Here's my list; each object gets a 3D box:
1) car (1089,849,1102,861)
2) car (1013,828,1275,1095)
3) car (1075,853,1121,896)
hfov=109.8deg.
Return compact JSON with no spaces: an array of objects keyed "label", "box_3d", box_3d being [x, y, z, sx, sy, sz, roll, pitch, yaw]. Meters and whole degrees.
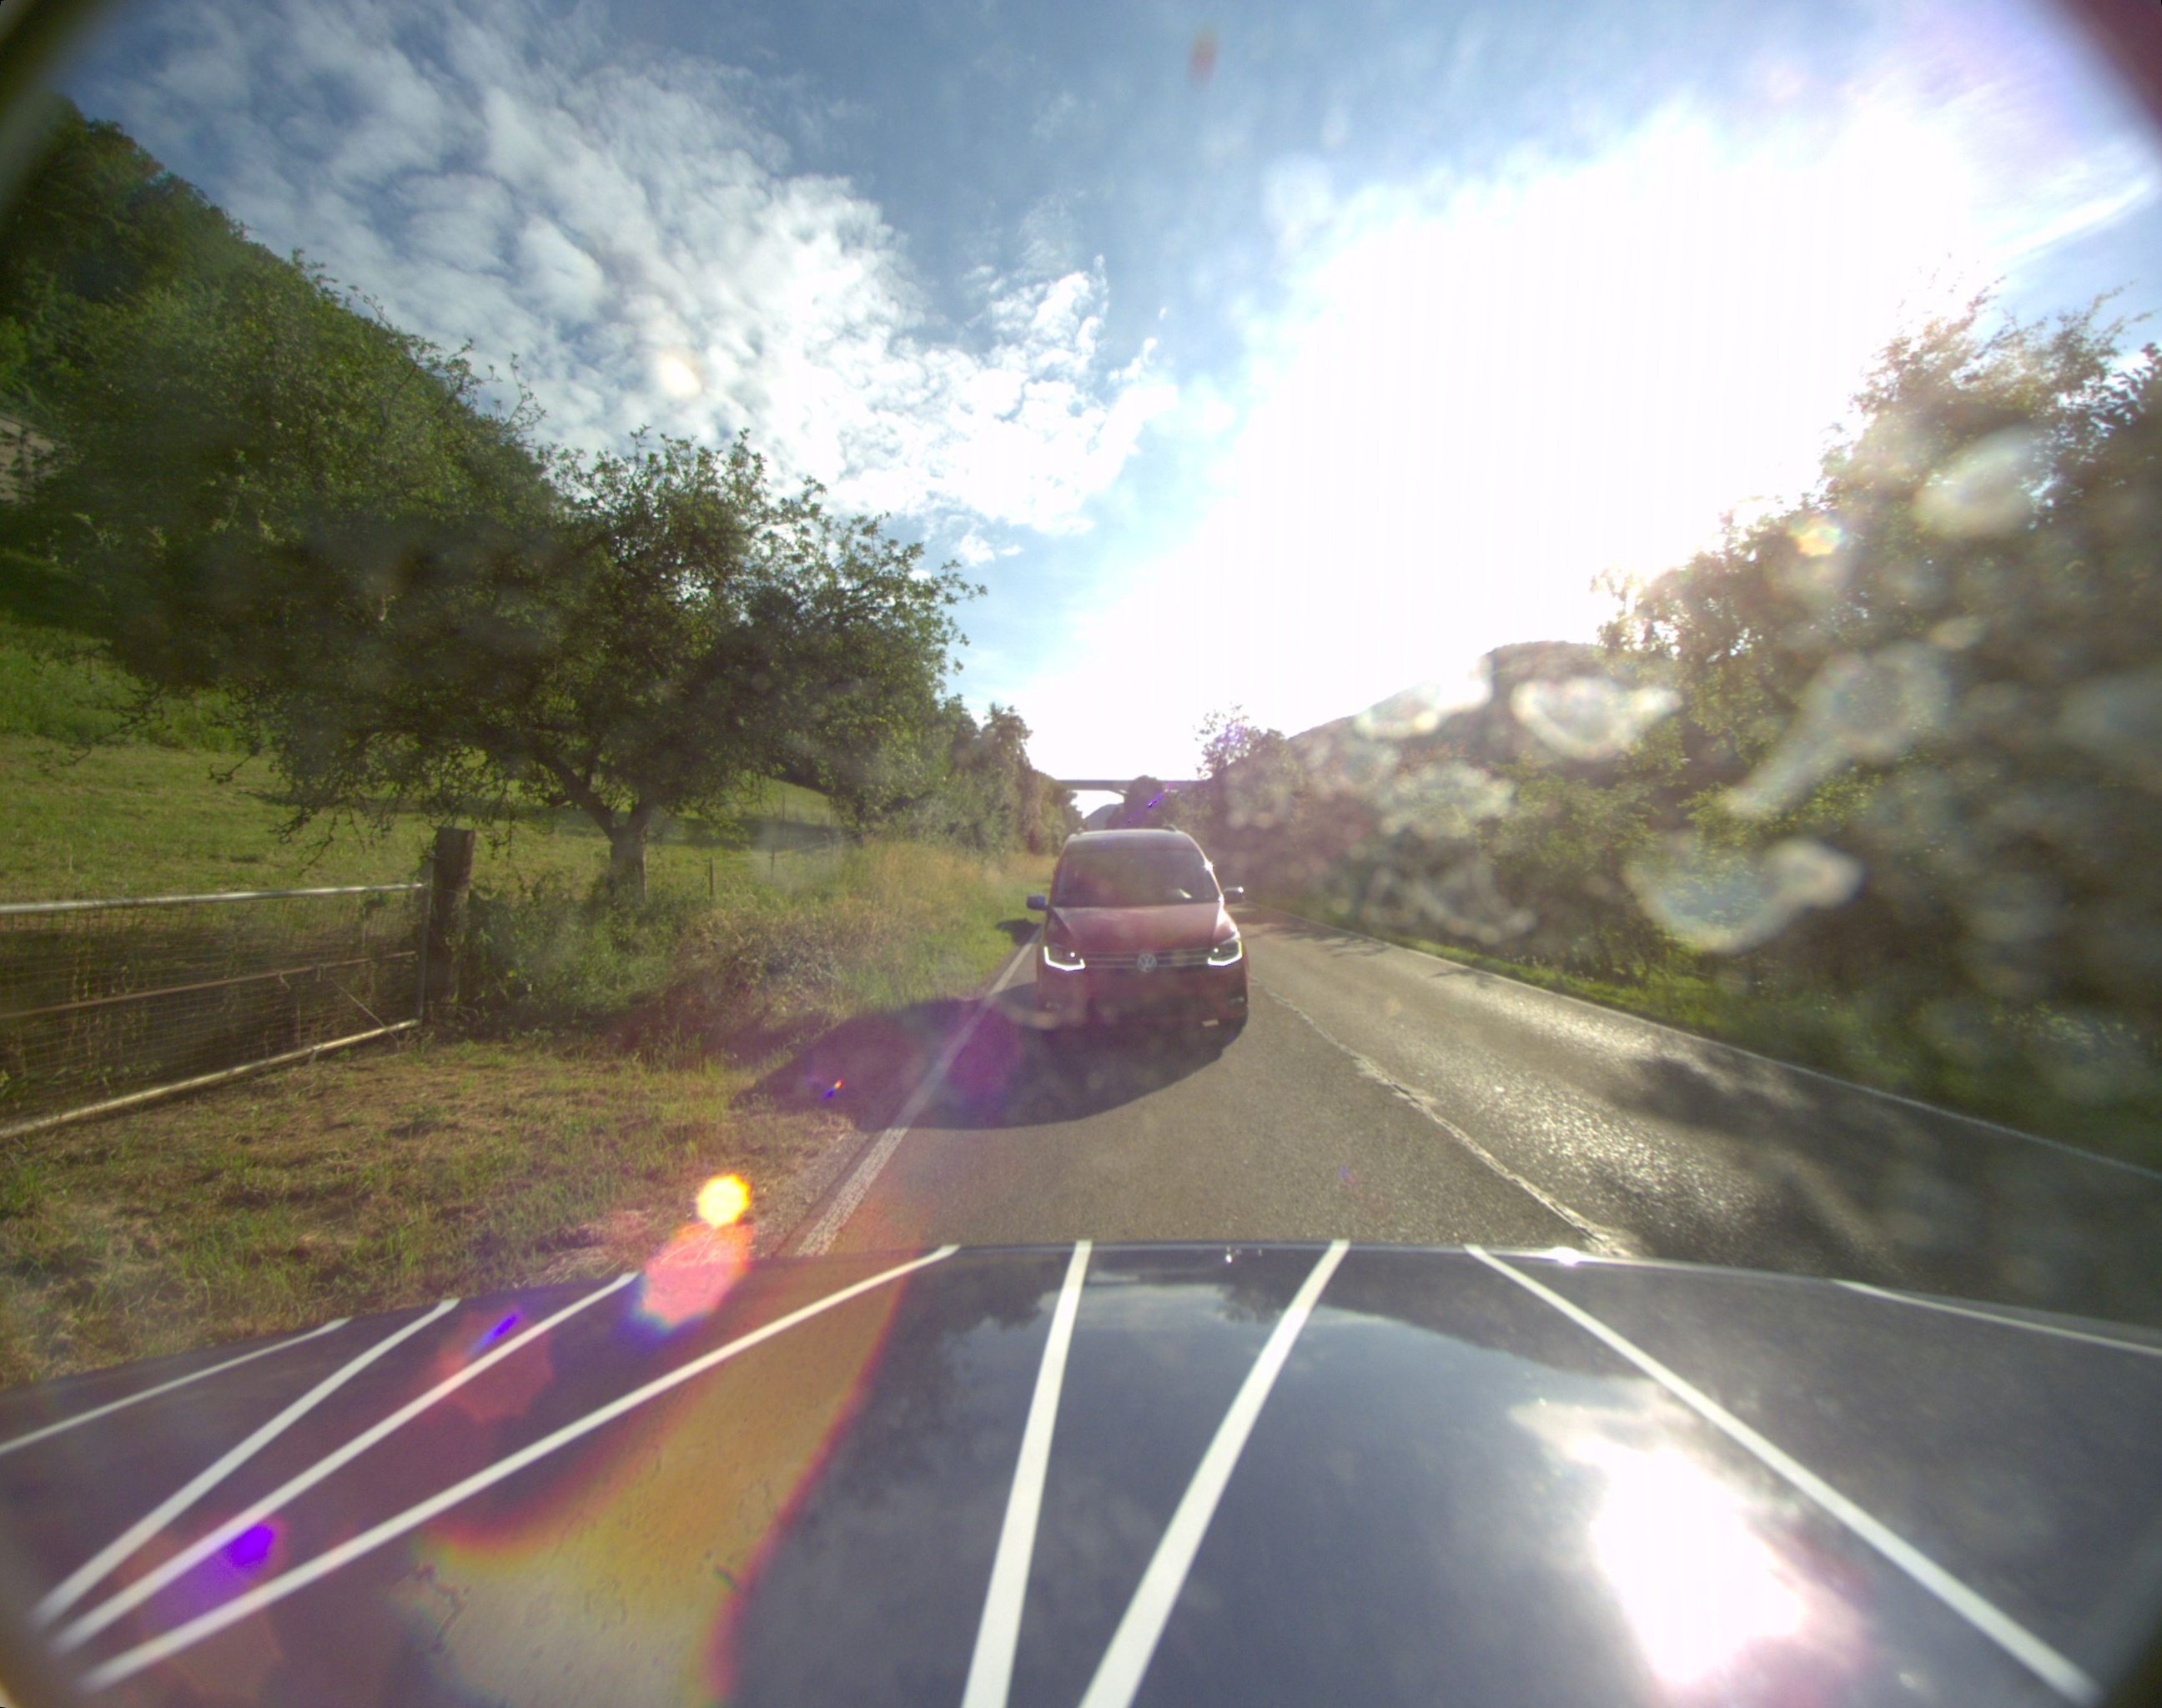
[{"label":"car","box_3d":[2.149,0.159,110.248,1.753,1.608,4.288,-3,1,1]},{"label":"car","box_3d":[0.491,0.742,7.482,1.753,1.799,4.288,-3,1,1]},{"label":"car","box_3d":[0.729,0.805,32.190,1.753,1.608,4.288,-3,1,1]}]
